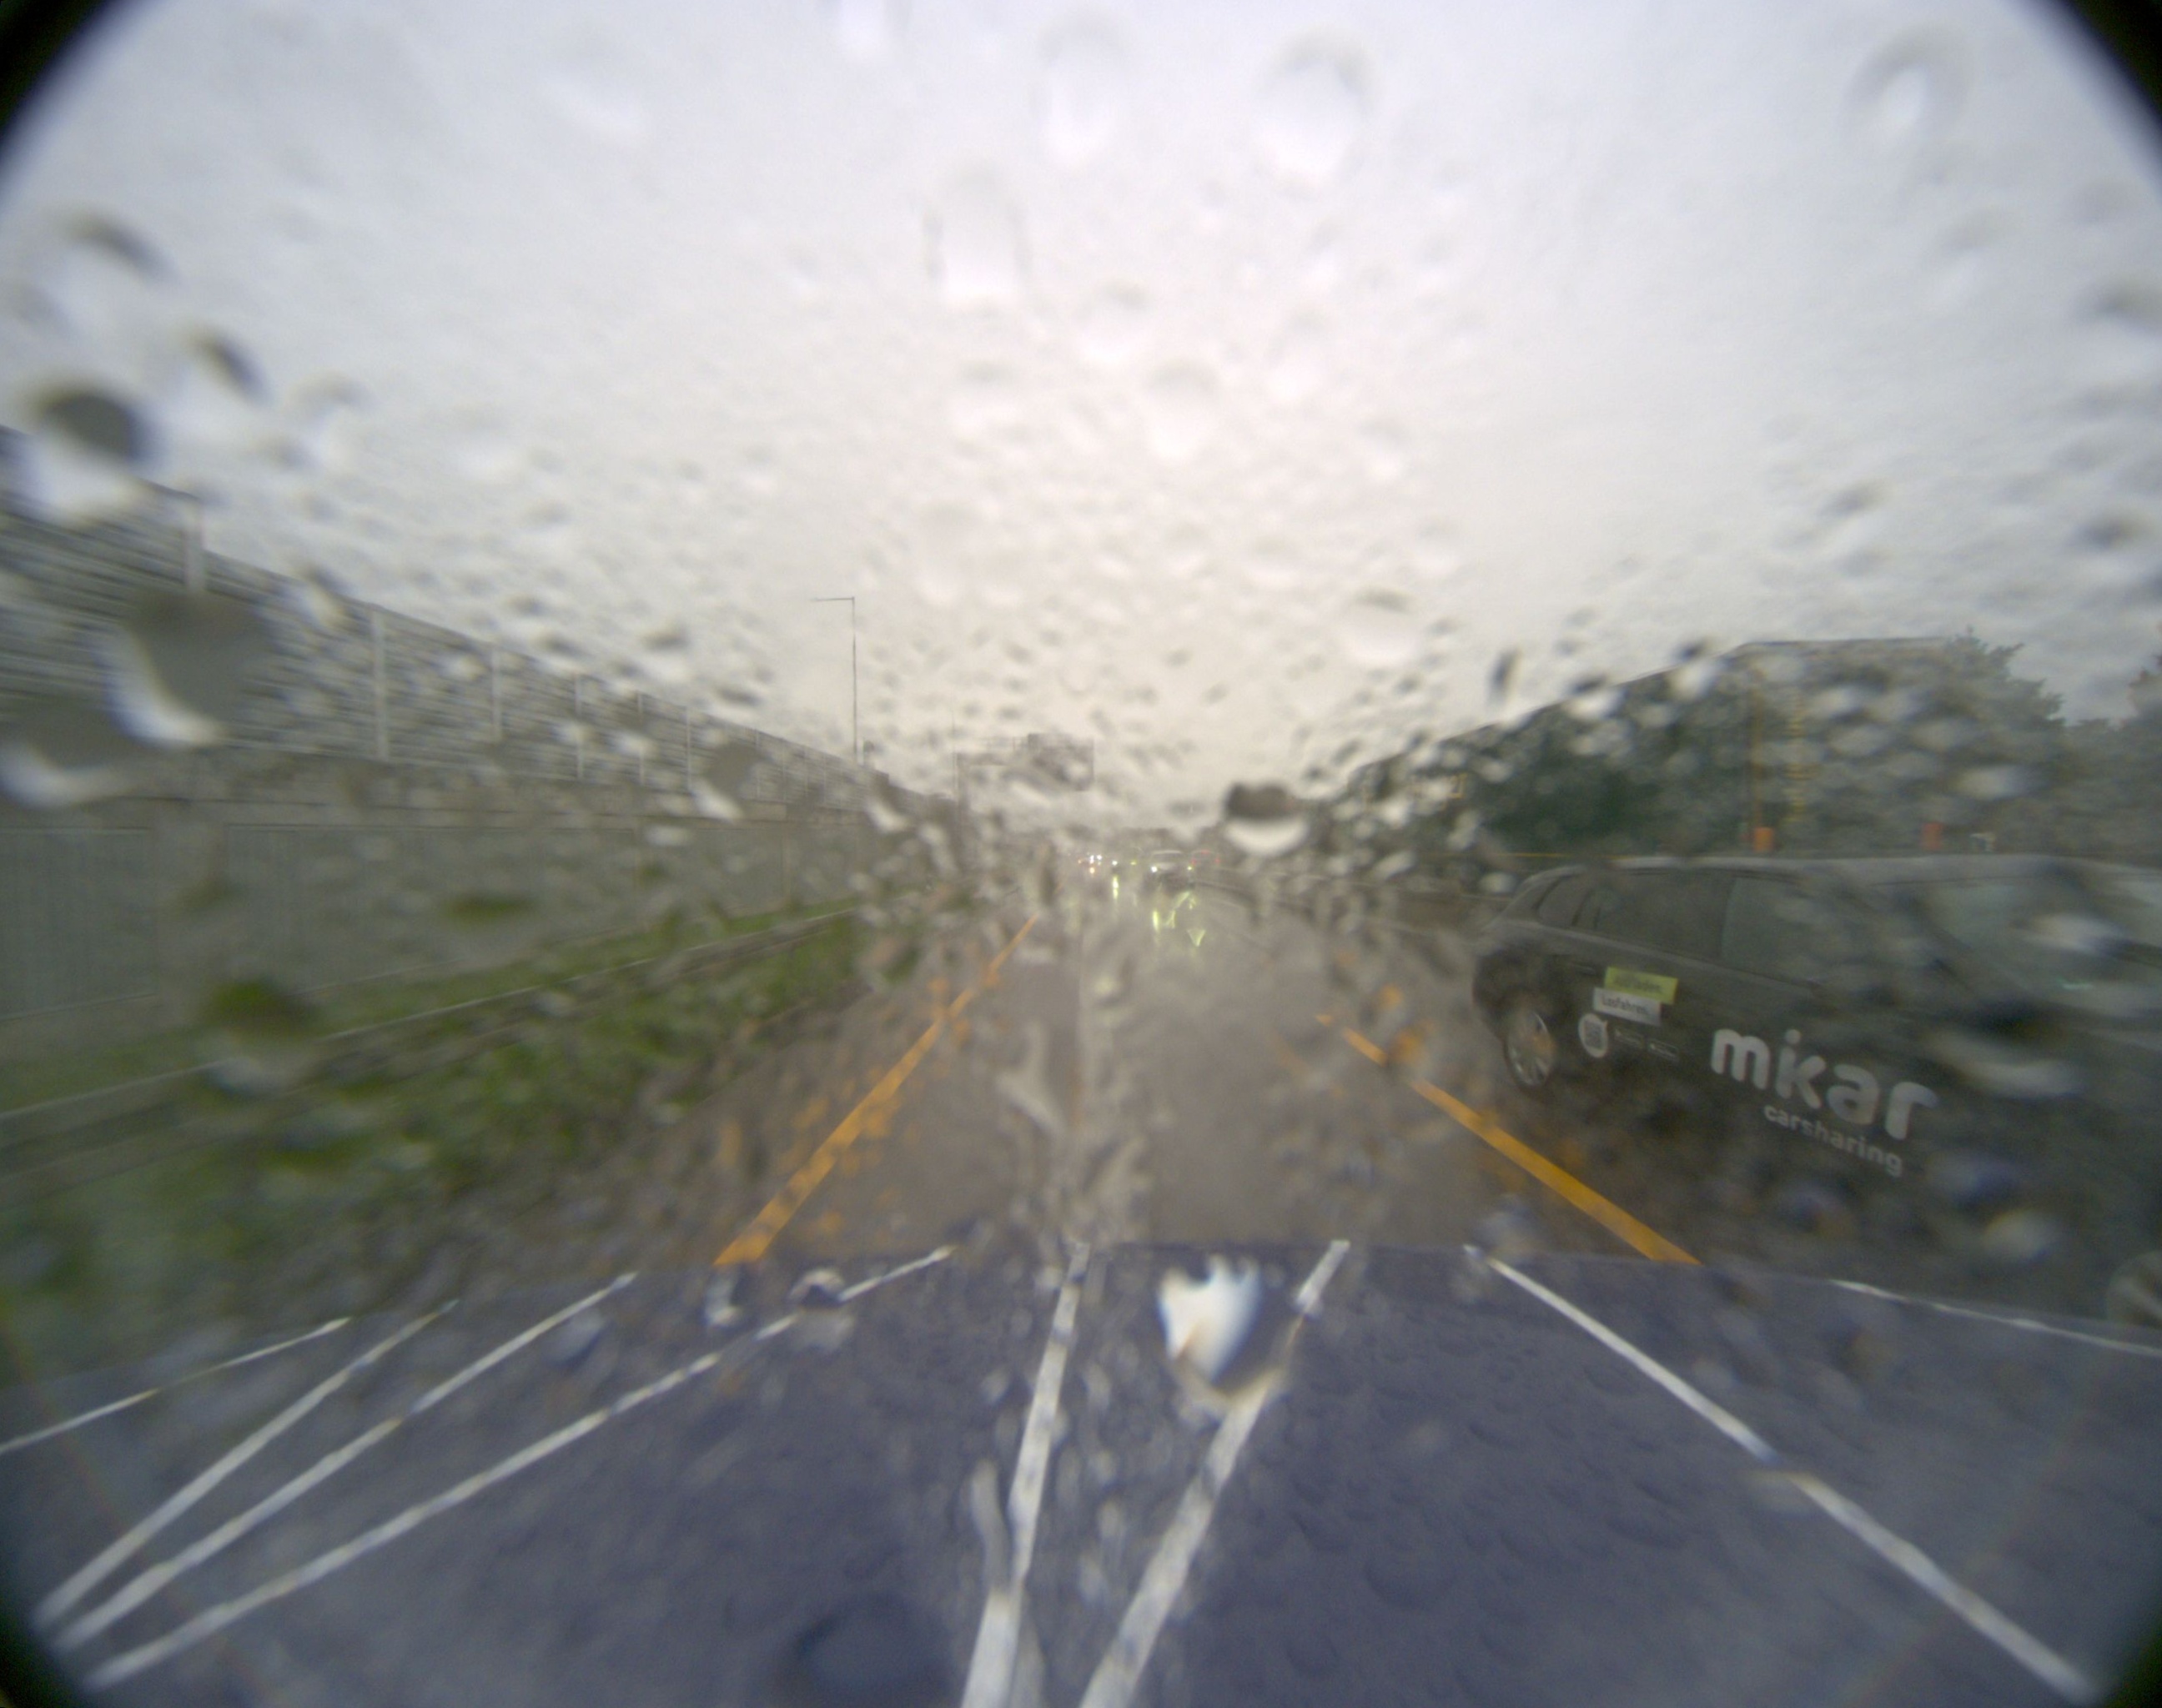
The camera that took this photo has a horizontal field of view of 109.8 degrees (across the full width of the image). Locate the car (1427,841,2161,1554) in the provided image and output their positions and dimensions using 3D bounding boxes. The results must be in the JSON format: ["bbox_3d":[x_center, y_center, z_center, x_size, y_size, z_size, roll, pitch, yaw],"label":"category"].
[{"bbox_3d":[3.353,0.742,2.880,1.943,1.519,4.795,-2,0,1],"label":"car"}]

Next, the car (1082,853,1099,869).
[{"bbox_3d":[1.156,0.827,94.442,1.998,1.762,3.999,-2,2,1],"label":"car"}]

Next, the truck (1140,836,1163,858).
[{"bbox_3d":[11.111,-1.095,120.626,2.646,3.328,9.551,-2,0,0],"label":"truck"}]

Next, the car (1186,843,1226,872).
[{"bbox_3d":[7.594,0.177,46.509,1.705,1.589,4.319,-2,2,0],"label":"car"}]

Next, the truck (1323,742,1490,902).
[{"bbox_3d":[10.061,-0.913,24.263,2.615,4.363,6.289,-2,1,1],"label":"truck"}]

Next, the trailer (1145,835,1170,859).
[{"bbox_3d":[11.046,-0.985,110.947,2.668,3.343,9.713,-2,0,0],"label":"trailer"}]

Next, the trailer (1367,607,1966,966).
[{"bbox_3d":[9.909,-0.887,16.320,2.587,4.431,13.551,-2,0,1],"label":"trailer"}]

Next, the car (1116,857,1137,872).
[{"bbox_3d":[3.553,0.788,59.827,1.335,1.105,3.198,1,0,-2],"label":"car"}]

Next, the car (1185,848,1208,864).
[{"bbox_3d":[10.825,0.142,71.318,1.573,1.427,3.892,-1,1,0],"label":"car"}]

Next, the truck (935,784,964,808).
[{"bbox_3d":[-12.351,-5.393,71.583,1.998,2.002,4.057,-2,2,0],"label":"truck"}]

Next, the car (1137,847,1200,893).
[{"bbox_3d":[3.616,0.613,31.984,1.972,1.671,3.997,-2,2,-3],"label":"car"}]
